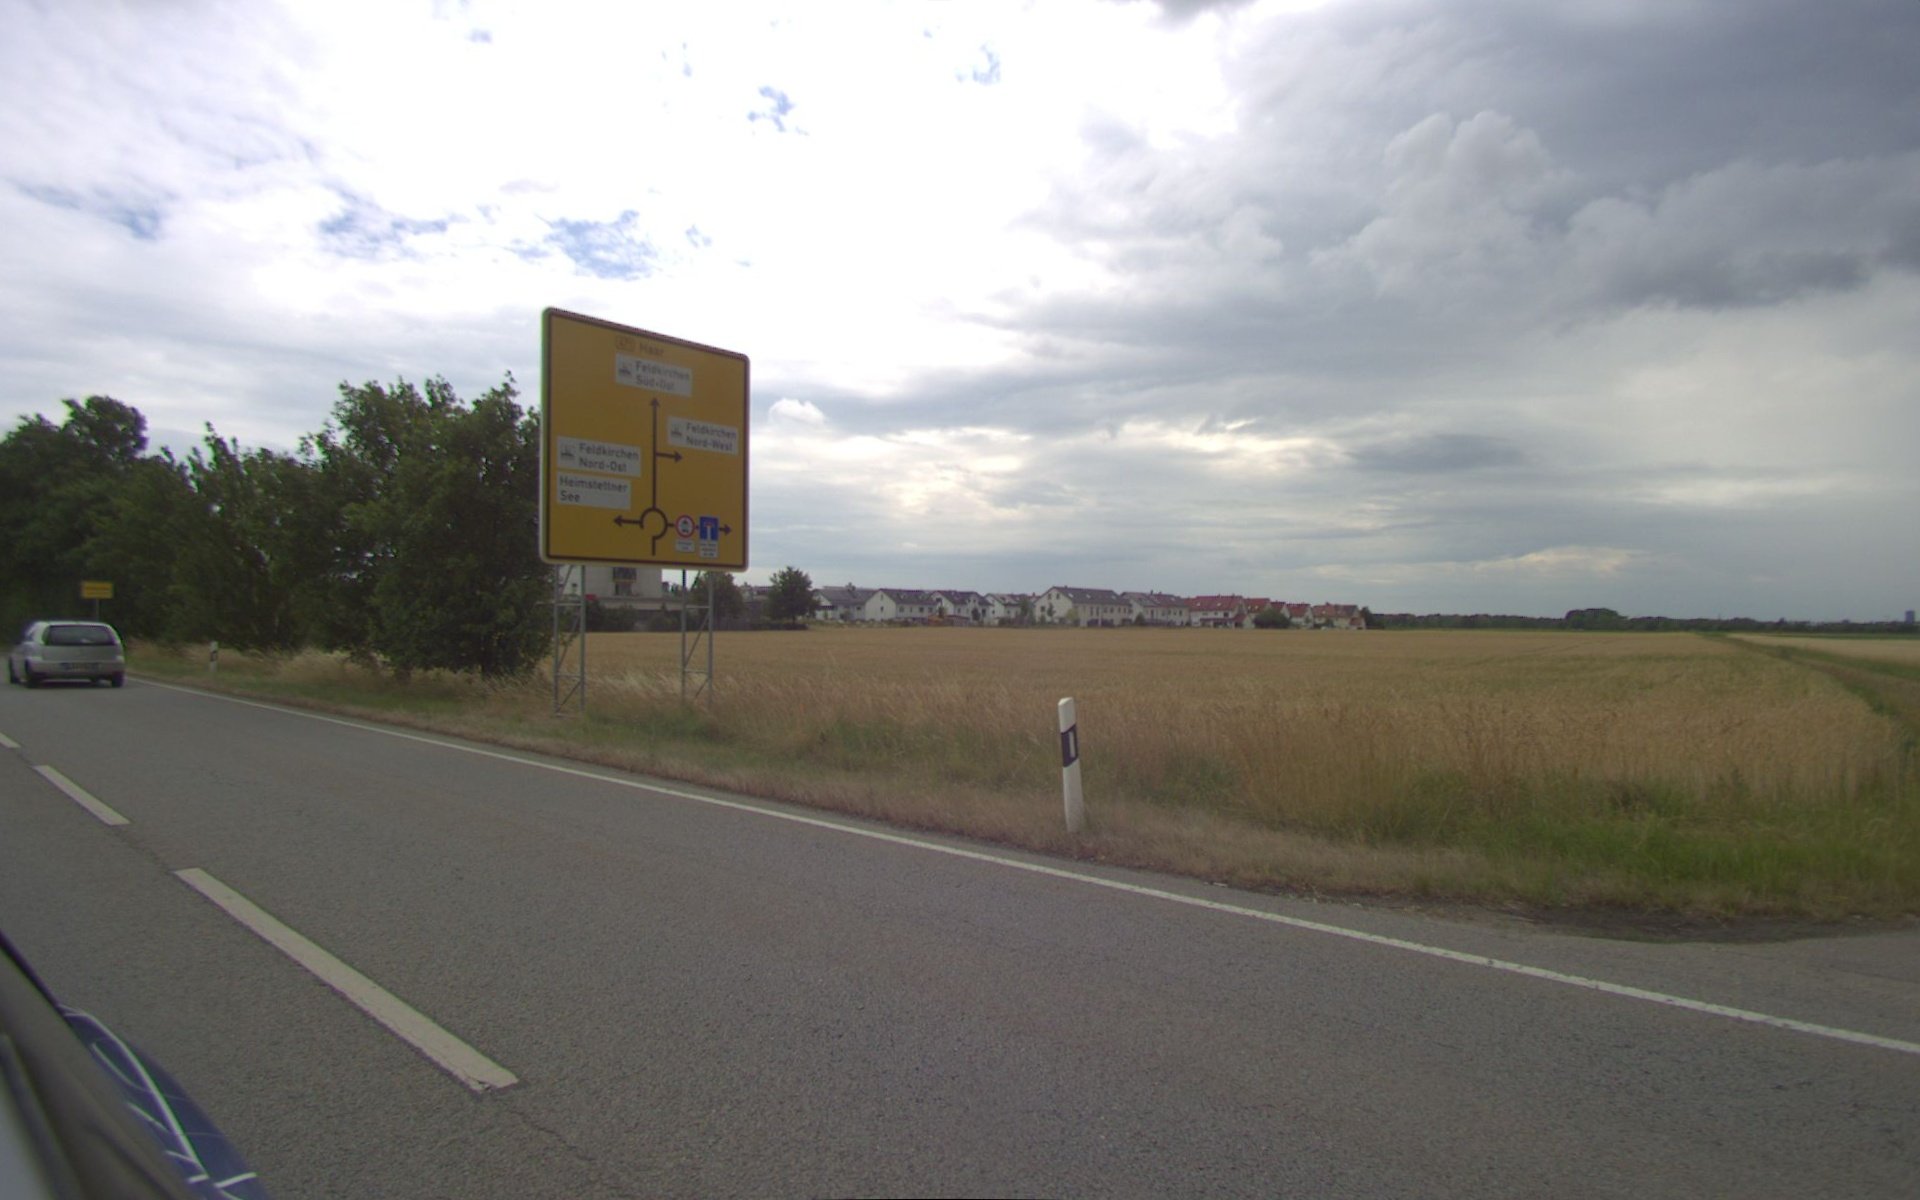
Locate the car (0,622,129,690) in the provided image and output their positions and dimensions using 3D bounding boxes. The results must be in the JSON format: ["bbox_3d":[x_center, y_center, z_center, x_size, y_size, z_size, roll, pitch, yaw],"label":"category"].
[{"bbox_3d":[-19.813,1.174,22.269,3.948,1.374,1.710,-1,-2,41],"label":"car"}]
